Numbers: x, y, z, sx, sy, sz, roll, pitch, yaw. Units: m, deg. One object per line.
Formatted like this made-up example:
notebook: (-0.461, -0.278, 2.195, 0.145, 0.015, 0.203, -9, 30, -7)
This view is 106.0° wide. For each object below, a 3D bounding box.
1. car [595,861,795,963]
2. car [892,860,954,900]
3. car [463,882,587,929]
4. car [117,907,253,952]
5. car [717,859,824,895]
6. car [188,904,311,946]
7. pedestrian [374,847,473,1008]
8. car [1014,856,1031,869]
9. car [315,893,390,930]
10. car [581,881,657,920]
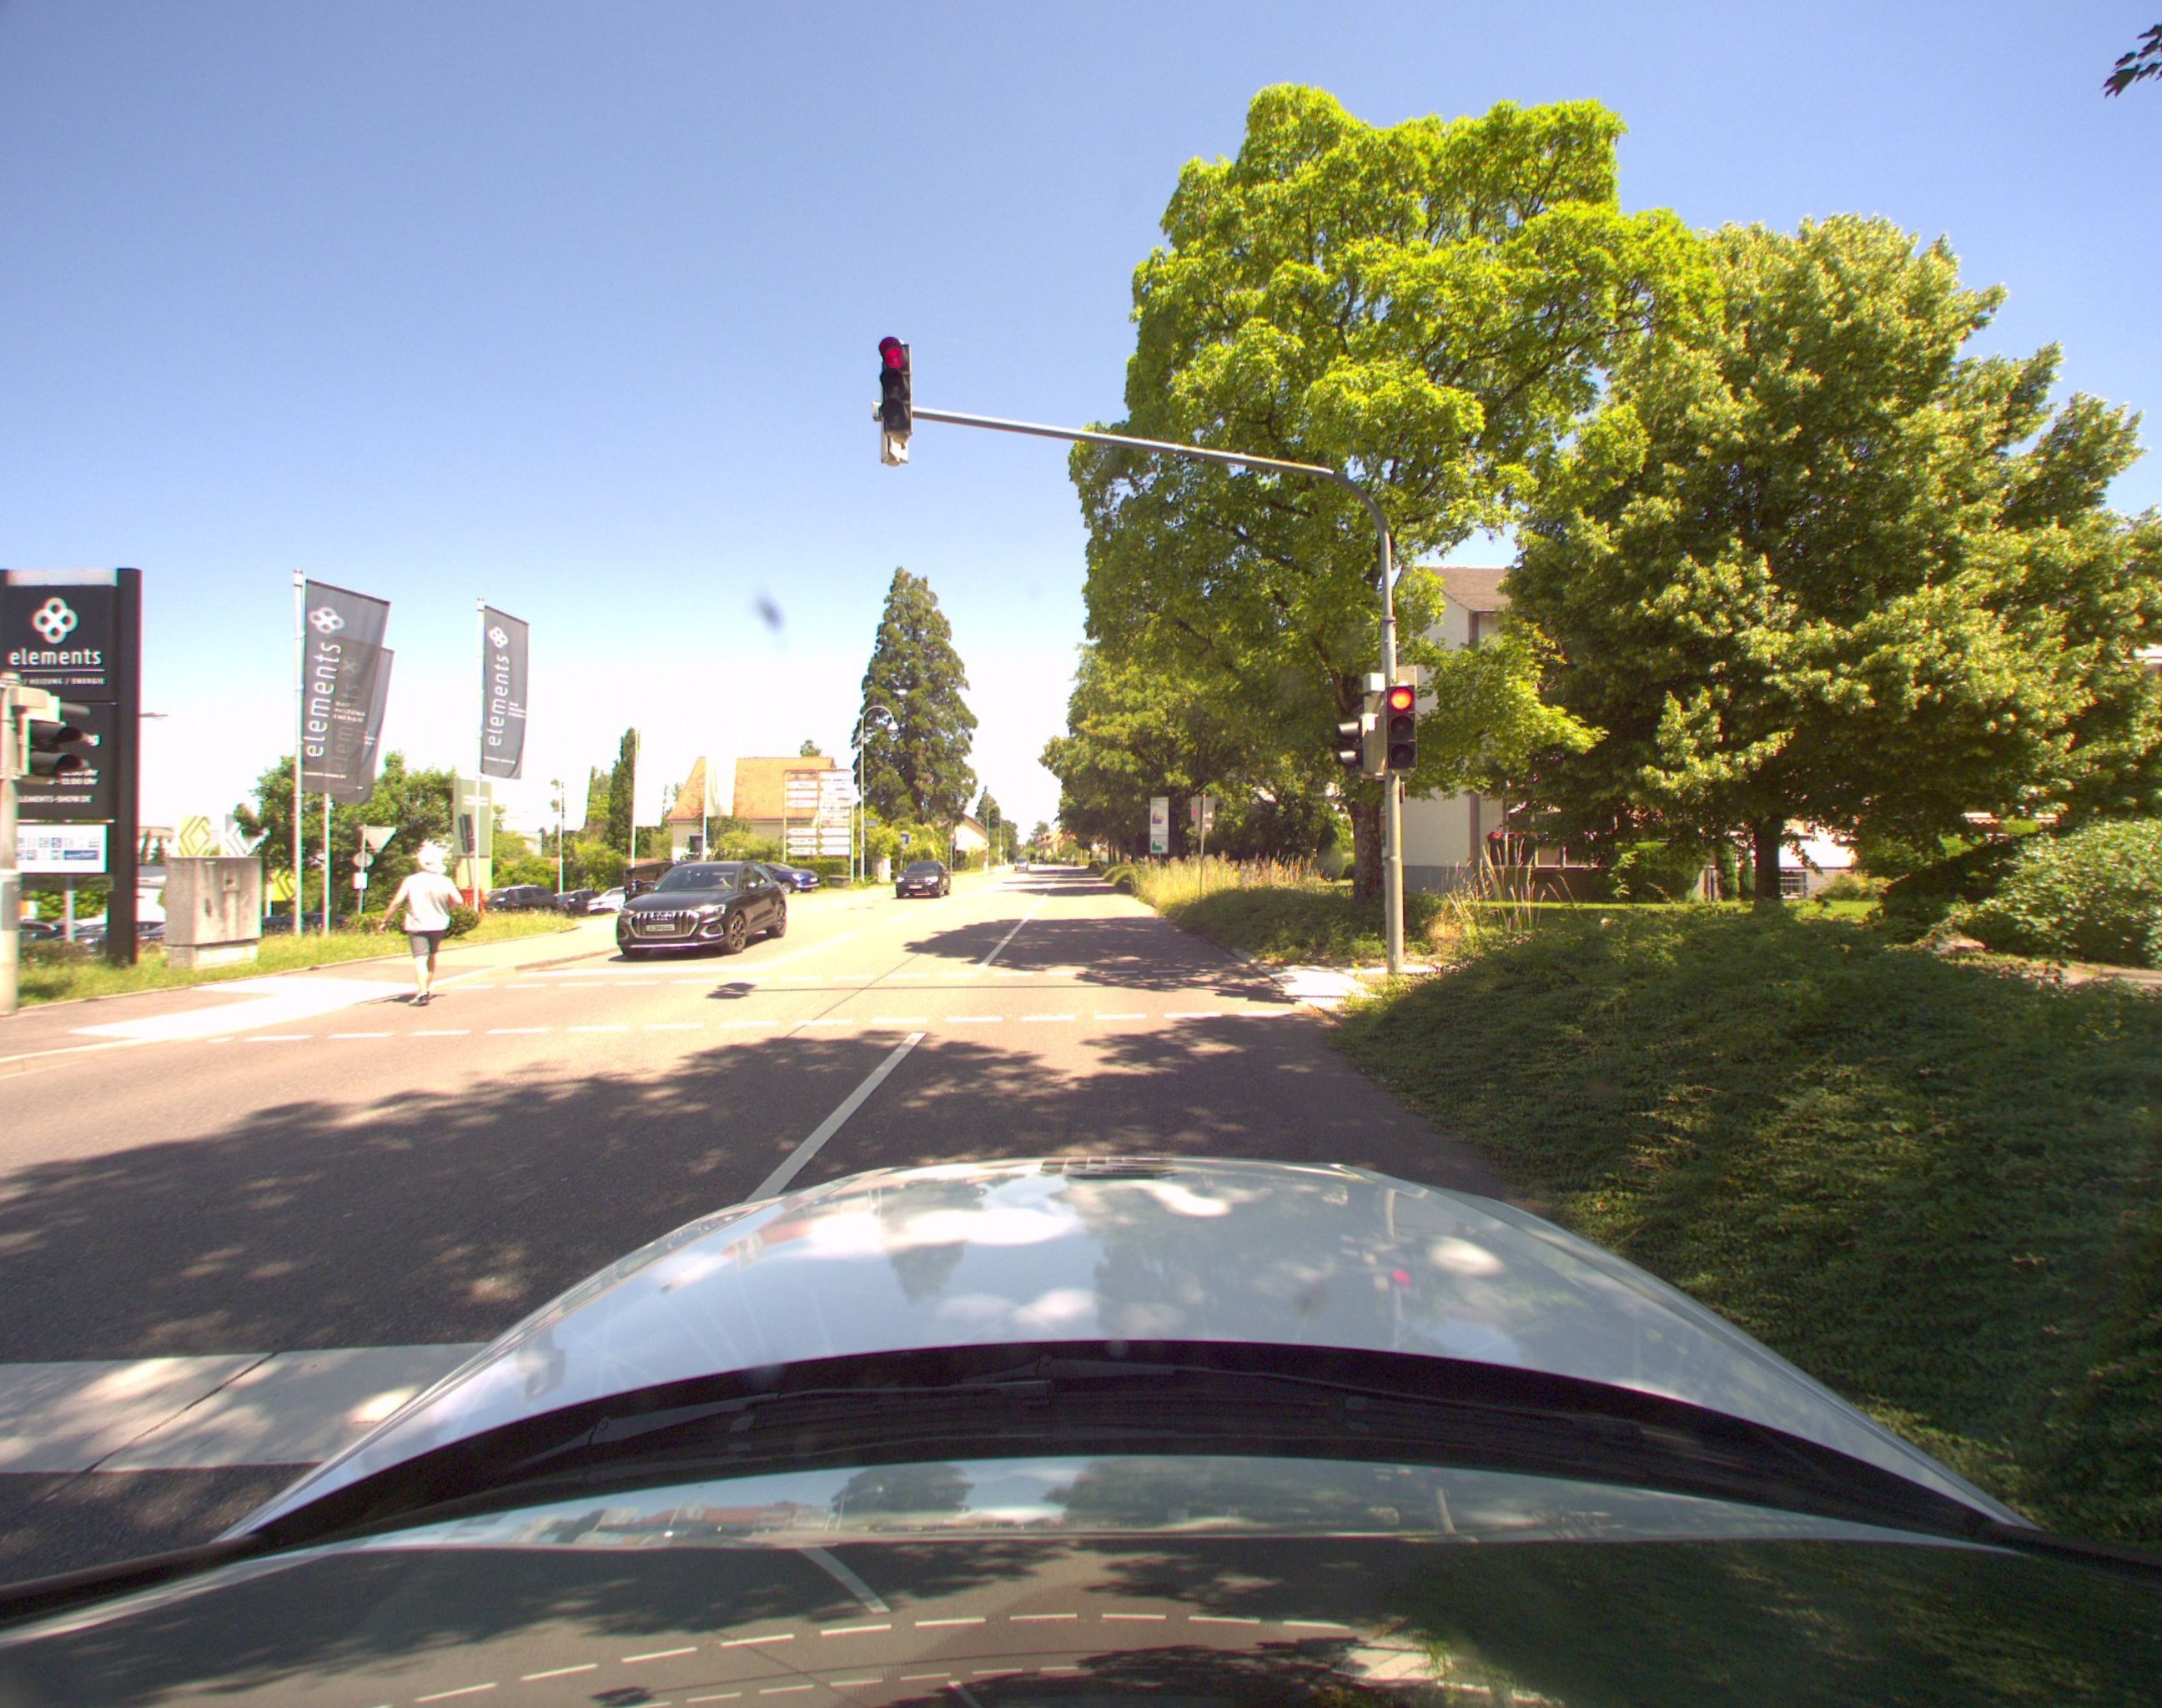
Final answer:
car: (-6.881, 0.934, 15.088, 1.923, 1.555, 4.295, -1, 0, -5)
car: (-6.428, 1.001, 33.562, 1.864, 1.507, 4.049, -1, 0, -2)
car: (-23.300, 2.090, 34.323, 1.795, 1.721, 4.106, 0, 0, 16)
car: (-37.026, 3.061, 33.816, 1.754, 1.486, 3.983, -1, 0, -12)
car: (-13.933, 1.016, 36.591, 4.109, 1.504, 1.782, -1, 0, 10)
car: (-34.351, 2.893, 33.803, 1.648, 1.415, 3.853, -1, 0, -11)
pedestrian: (-7.534, 0.807, 9.344, 0.538, 1.761, 0.706, -1, -1, 28)
car: (-7.818, 1.102, 108.656, 1.804, 1.762, 4.571, 0, 0, 1)
car: (-40.424, 3.153, 45.282, 1.816, 1.722, 4.059, 0, 0, -22)
car: (-23.248, 2.293, 41.146, 1.806, 1.722, 4.081, 0, 0, -6)
